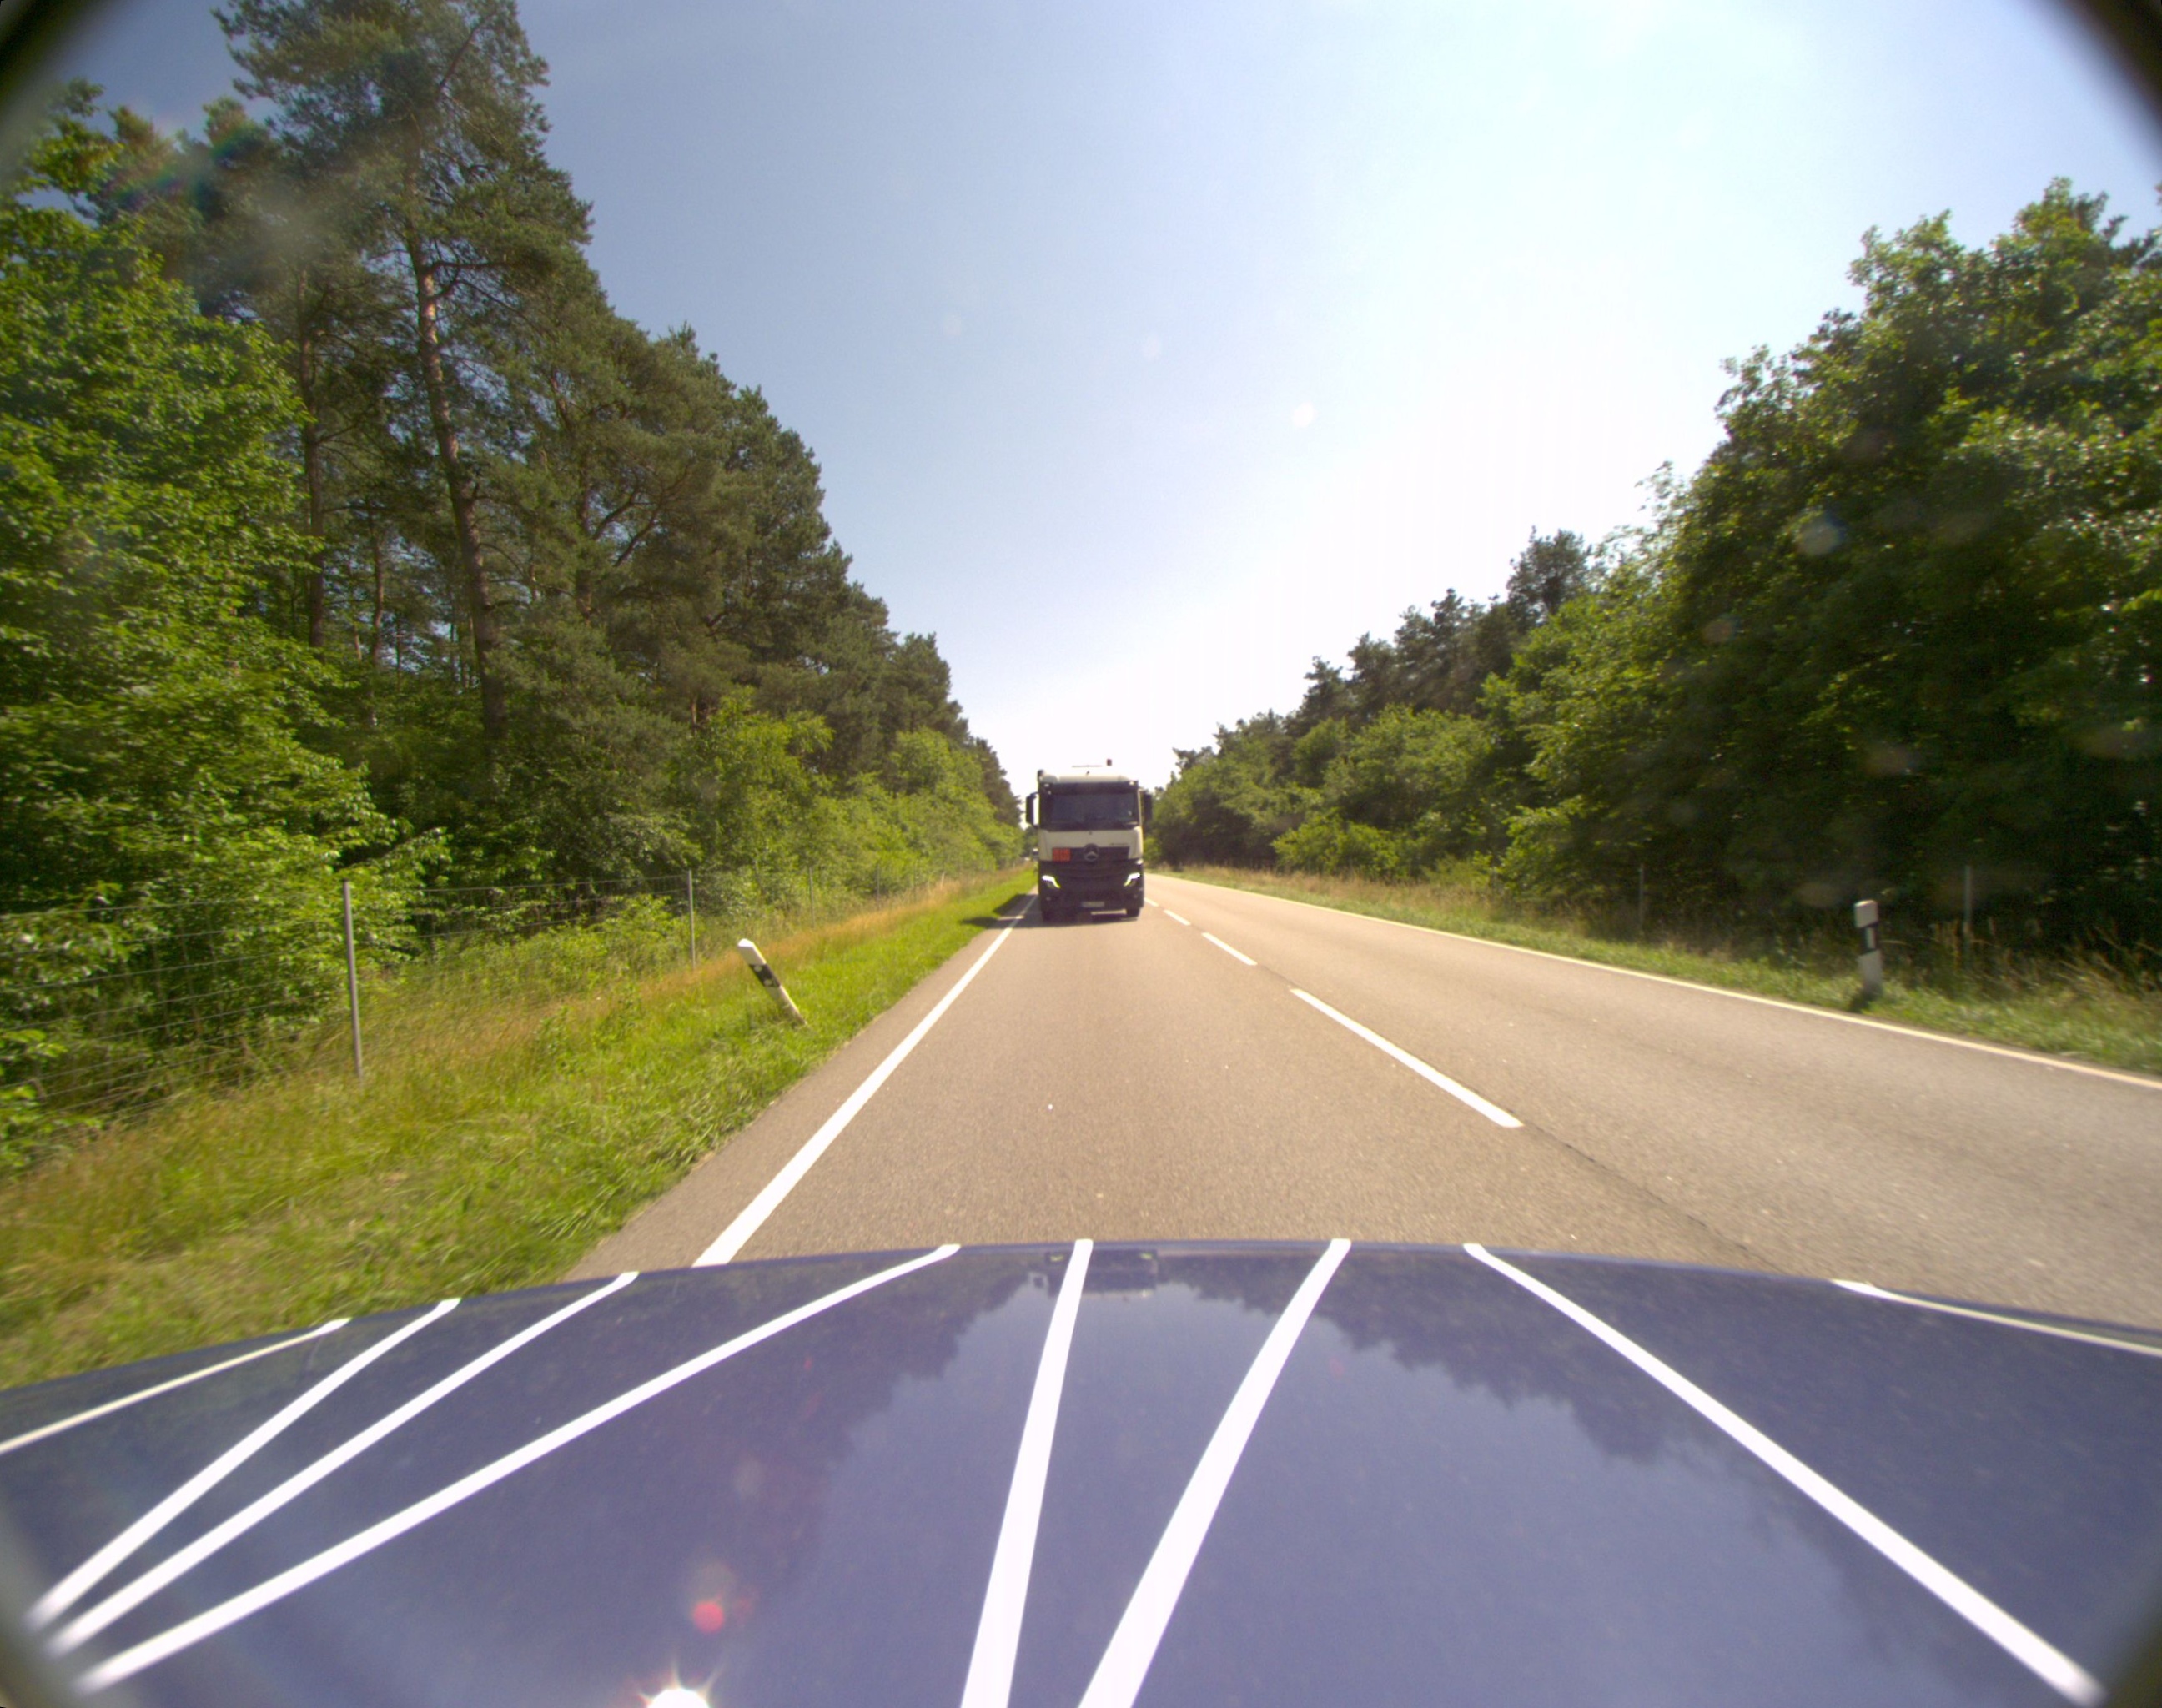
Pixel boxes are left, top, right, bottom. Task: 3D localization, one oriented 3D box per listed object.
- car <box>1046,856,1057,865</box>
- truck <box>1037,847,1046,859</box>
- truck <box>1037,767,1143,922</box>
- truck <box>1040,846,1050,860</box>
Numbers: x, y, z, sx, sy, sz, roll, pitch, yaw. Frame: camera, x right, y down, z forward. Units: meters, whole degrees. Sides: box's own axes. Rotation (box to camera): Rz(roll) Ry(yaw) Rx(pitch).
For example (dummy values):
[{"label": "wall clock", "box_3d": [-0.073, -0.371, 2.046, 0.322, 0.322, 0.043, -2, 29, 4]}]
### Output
[{"label": "car", "box_3d": [-5.383, 1.192, 139.036, 1.885, 1.462, 3.999, 0, 0, -2]}, {"label": "truck", "box_3d": [-12.259, -0.262, 234.464, 2.495, 3.619, 6.101, -2, 0, -5]}, {"label": "truck", "box_3d": [0.158, -0.230, 21.706, 2.435, 3.672, 6.456, -2, 0, -1]}, {"label": "truck", "box_3d": [-9.238, -0.270, 195.792, 2.494, 3.619, 6.101, -1, 0, -3]}]
